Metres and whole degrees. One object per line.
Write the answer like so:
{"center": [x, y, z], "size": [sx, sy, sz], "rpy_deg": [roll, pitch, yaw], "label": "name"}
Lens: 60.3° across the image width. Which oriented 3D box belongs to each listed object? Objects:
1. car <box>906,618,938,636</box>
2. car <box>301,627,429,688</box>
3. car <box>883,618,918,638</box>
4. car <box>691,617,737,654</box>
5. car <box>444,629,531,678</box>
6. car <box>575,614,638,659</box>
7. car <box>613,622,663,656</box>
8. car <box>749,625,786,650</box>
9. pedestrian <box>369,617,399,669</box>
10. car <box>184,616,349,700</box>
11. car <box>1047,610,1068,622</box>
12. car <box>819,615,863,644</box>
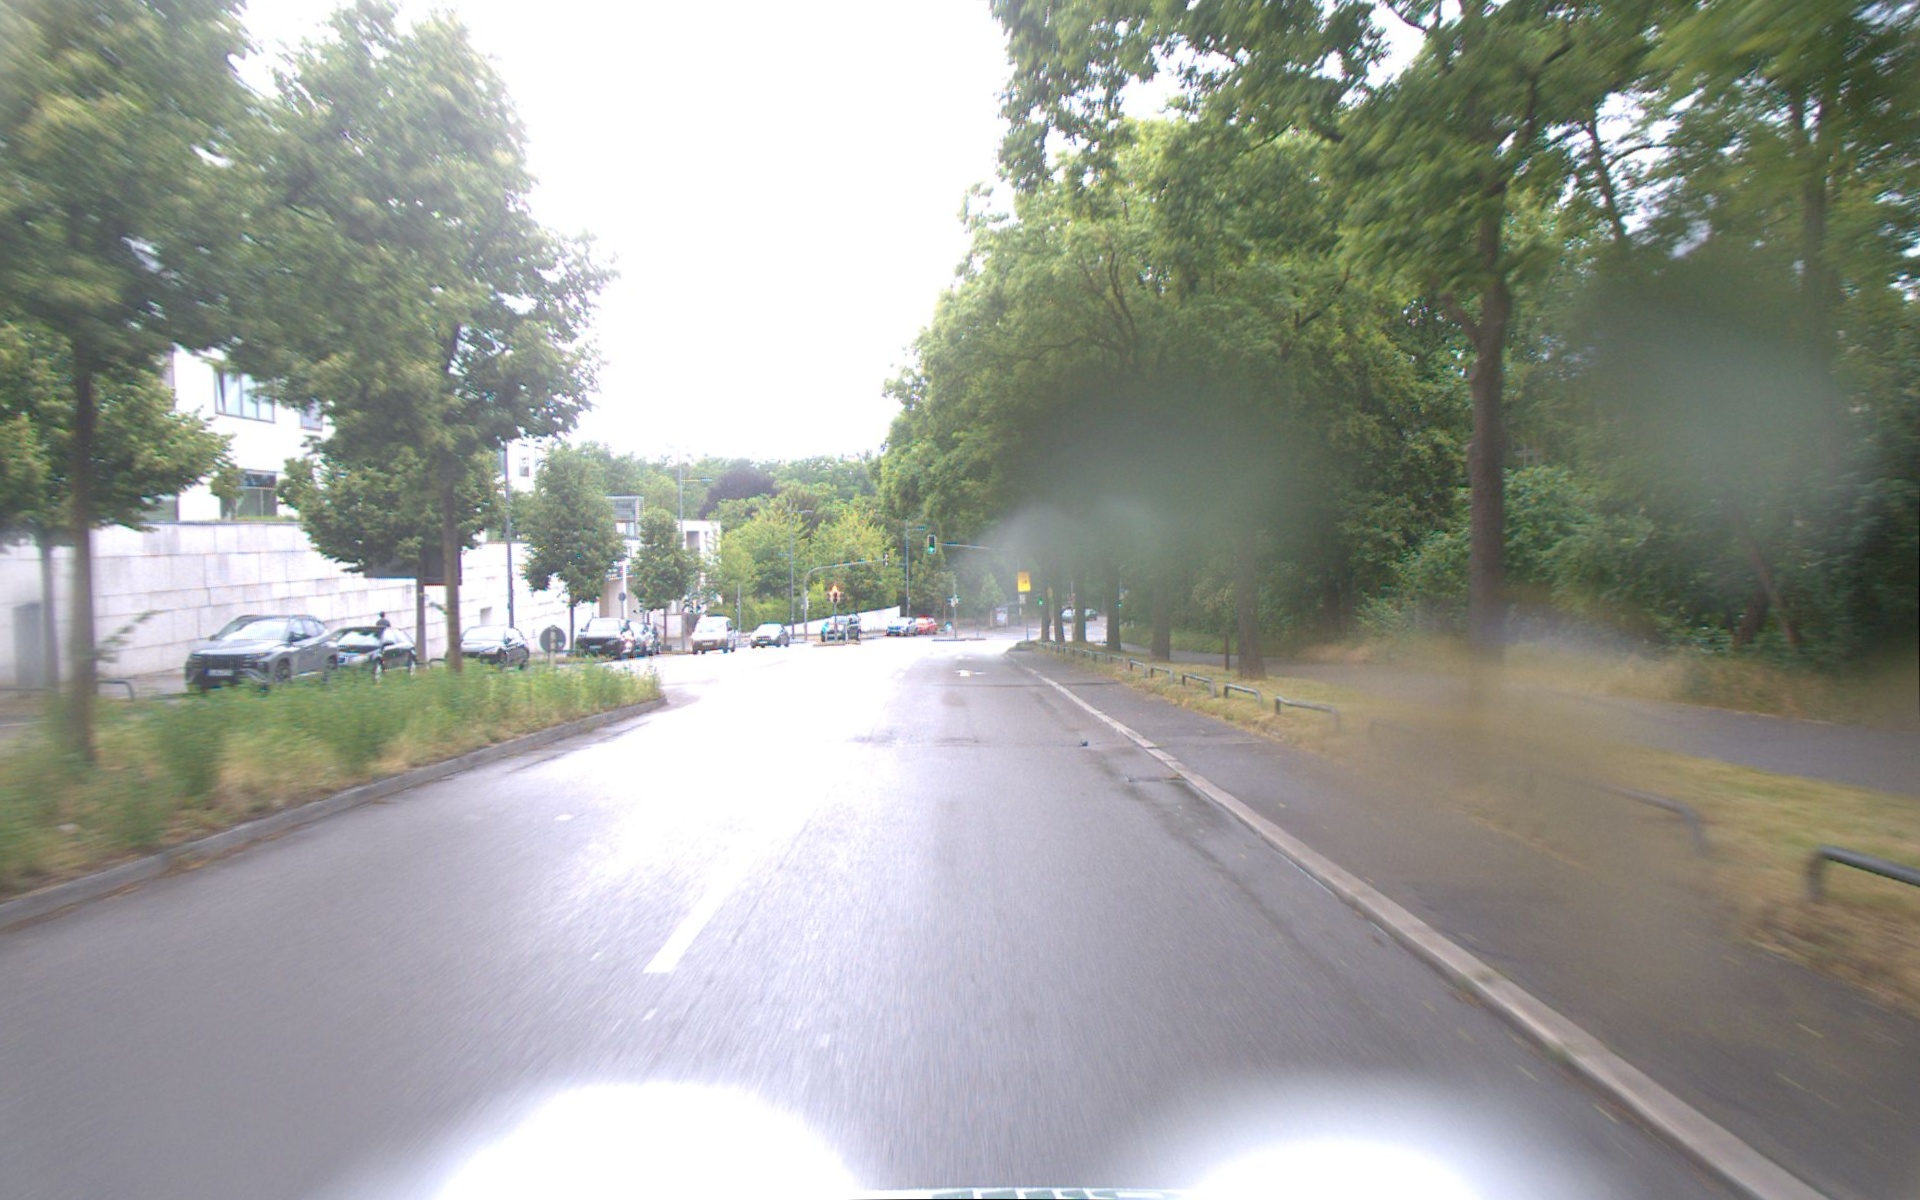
{"center": [-3.503, 2.520, 153.383], "size": [1.835, 1.602, 4.226], "rpy_deg": [1, 0, 15], "label": "car"}
{"center": [-14.784, 1.402, 41.315], "size": [1.660, 1.384, 4.163], "rpy_deg": [-1, -1, 1], "label": "car"}
{"center": [-5.272, 2.463, 146.492], "size": [1.814, 1.668, 4.096], "rpy_deg": [2, 0, 16], "label": "car"}
{"center": [-12.296, 1.746, 82.847], "size": [1.675, 1.777, 4.336], "rpy_deg": [-1, -1, -1], "label": "car"}
{"center": [-14.739, 1.646, 51.743], "size": [1.645, 1.451, 3.964], "rpy_deg": [0, -1, -1], "label": "car"}
{"center": [-15.069, 1.529, 70.652], "size": [1.819, 1.812, 4.594], "rpy_deg": [-1, -1, -2], "label": "car"}
{"center": [-14.866, 1.796, 76.505], "size": [1.645, 1.541, 3.709], "rpy_deg": [0, -1, 0], "label": "car"}
{"center": [-11.753, 2.282, 101.376], "size": [1.734, 1.405, 4.189], "rpy_deg": [-3, -1, 0], "label": "car"}
{"center": [-20.485, 1.534, 58.834], "size": [0.693, 1.806, 1.021], "rpy_deg": [-1, -1, -1], "label": "pedestrian"}
{"center": [-14.672, 1.207, 35.245], "size": [1.668, 1.649, 4.361], "rpy_deg": [-1, -1, 0], "label": "car"}
{"center": [12.160, 2.016, 205.798], "size": [1.677, 1.486, 3.752], "rpy_deg": [0, -1, 18], "label": "car"}
{"center": [-8.810, 2.168, 122.422], "size": [1.880, 1.889, 4.510], "rpy_deg": [-5, -1, 12], "label": "car"}
